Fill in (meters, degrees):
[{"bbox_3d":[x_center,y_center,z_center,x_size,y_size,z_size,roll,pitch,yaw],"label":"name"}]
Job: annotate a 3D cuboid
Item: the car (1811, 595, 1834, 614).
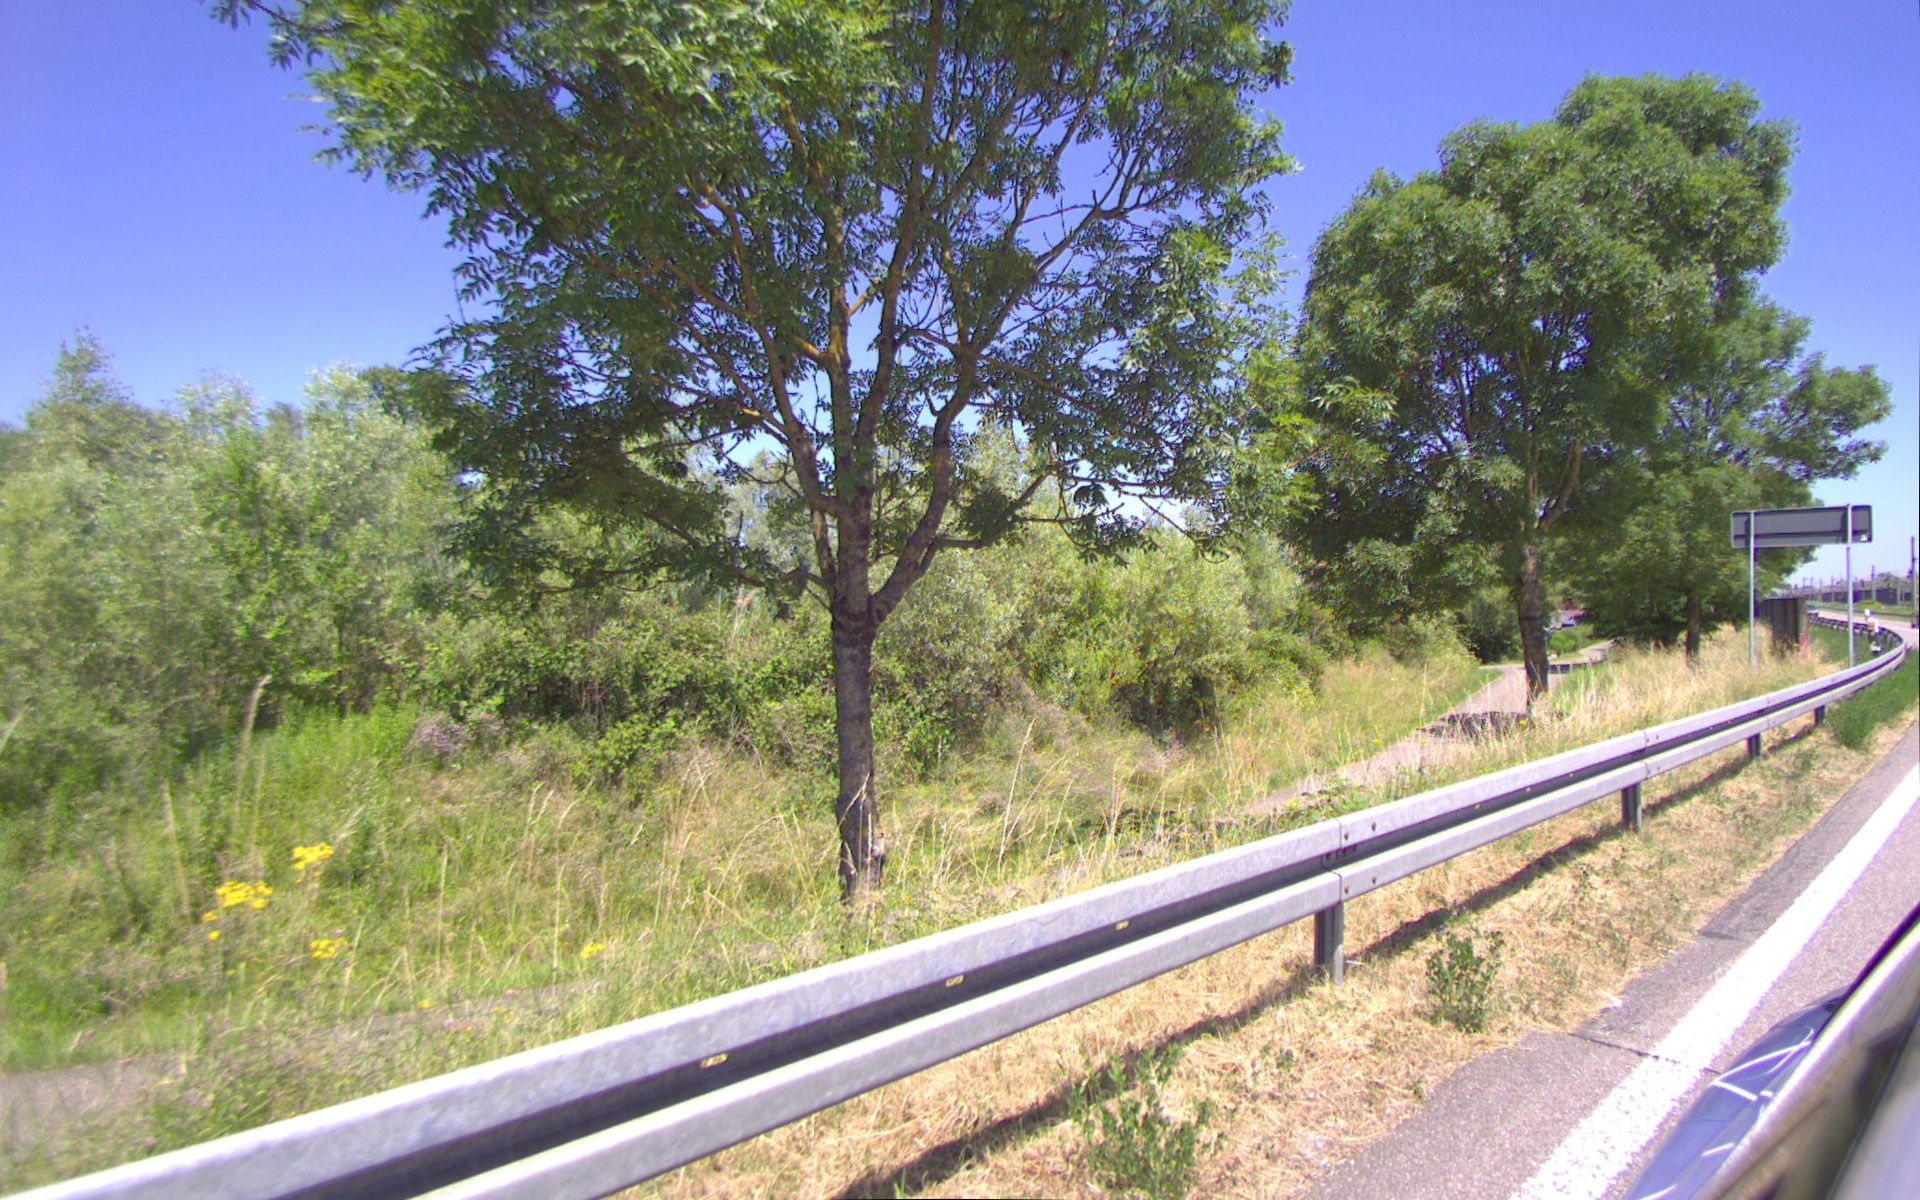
[{"bbox_3d":[97.902,0.486,114.871,1.992,2.039,3.940,1,1,41],"label":"car"}]
